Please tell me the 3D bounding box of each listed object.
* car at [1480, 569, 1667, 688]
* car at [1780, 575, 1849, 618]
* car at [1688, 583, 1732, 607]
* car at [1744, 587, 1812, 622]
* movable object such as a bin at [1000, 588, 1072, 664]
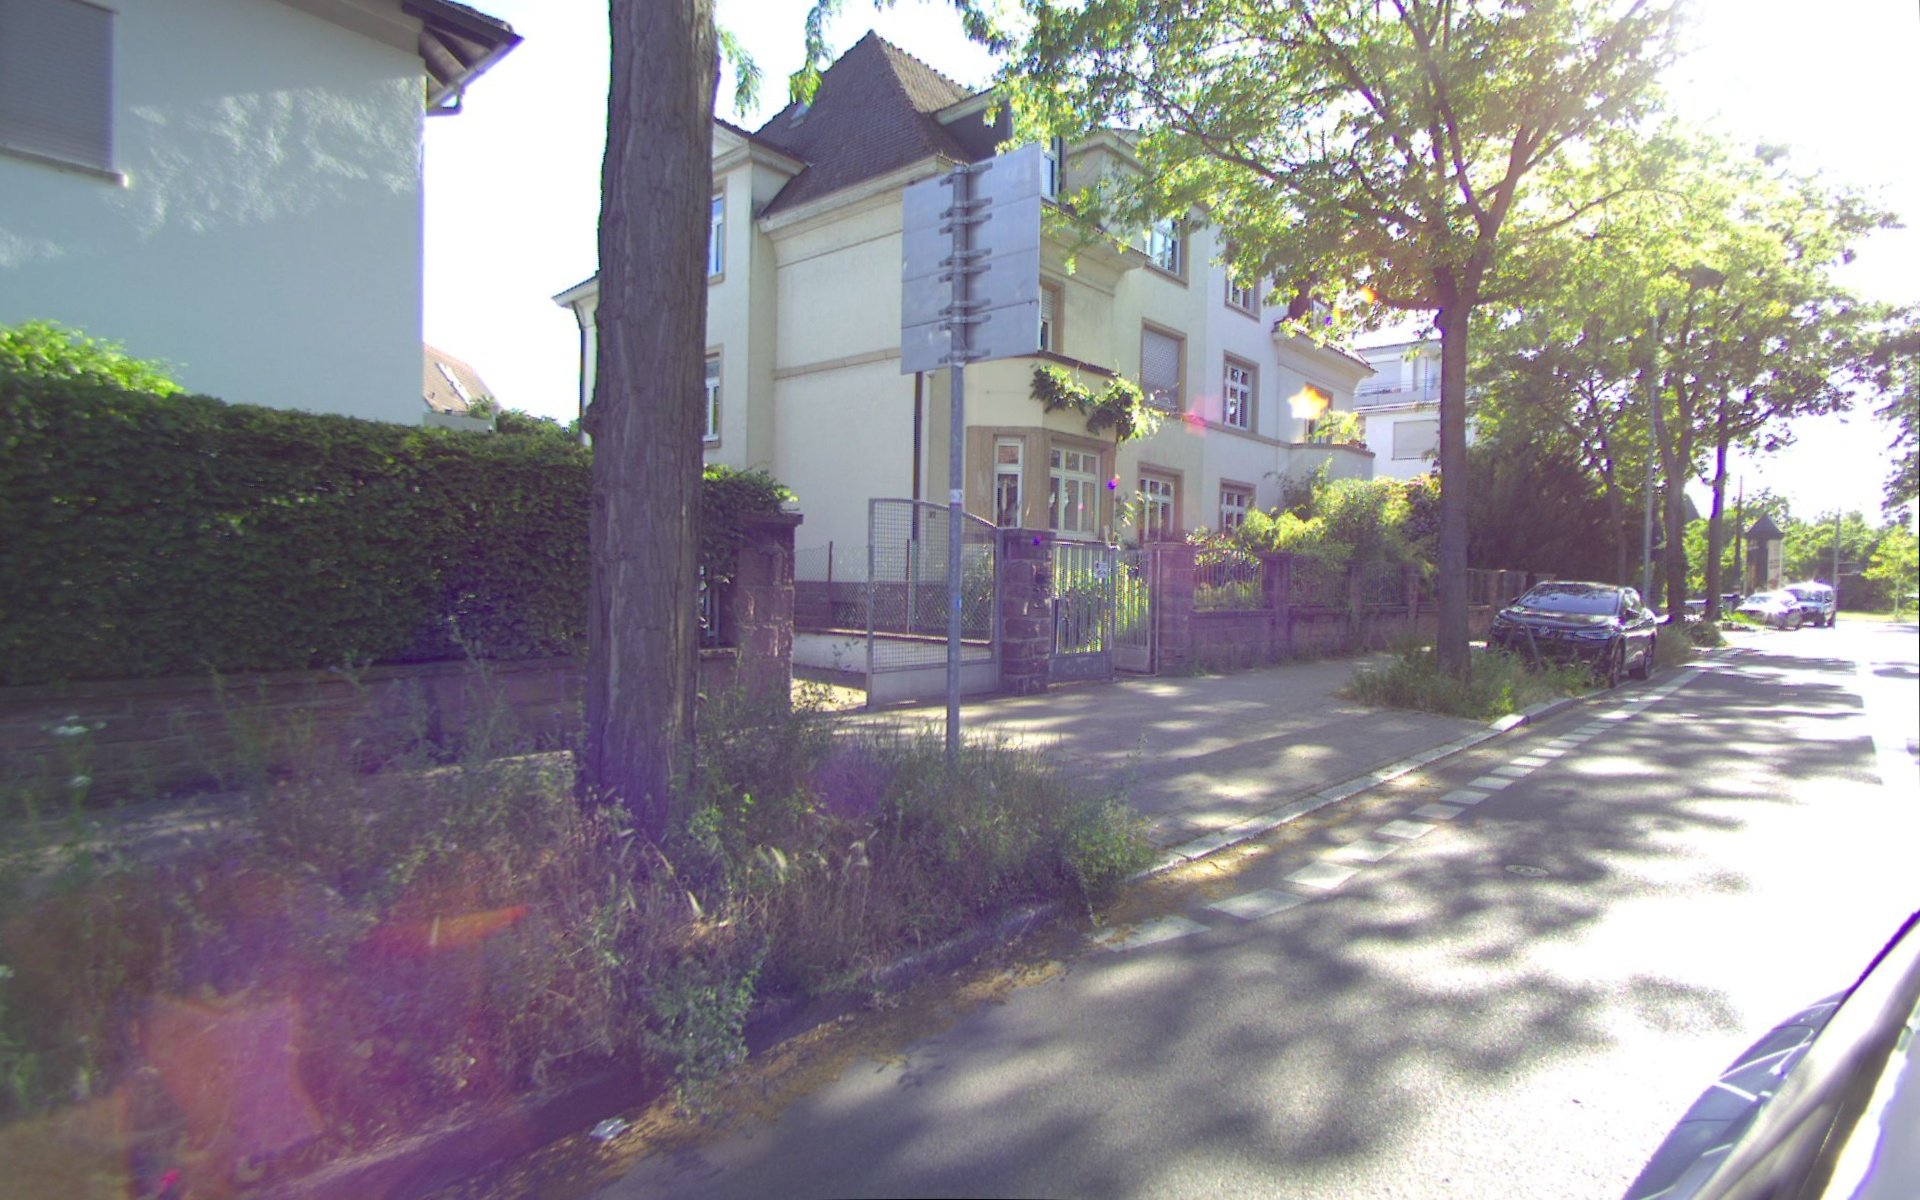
[{"bbox_3d":[10.525,0.370,17.228,1.993,1.765,4.108,1,2,42],"label":"car"},{"bbox_3d":[38.363,-0.186,45.404,4.177,1.852,1.902,-1,2,-43],"label":"car"},{"bbox_3d":[46.960,-0.350,63.347,1.737,1.460,3.936,1,2,44],"label":"car"},{"bbox_3d":[33.489,0.152,41.406,3.853,1.356,1.717,-1,2,-44],"label":"car"},{"bbox_3d":[1.119,0.368,14.986,0.712,1.068,0.969,0,1,-21],"label":"movable object such as a bin"}]
